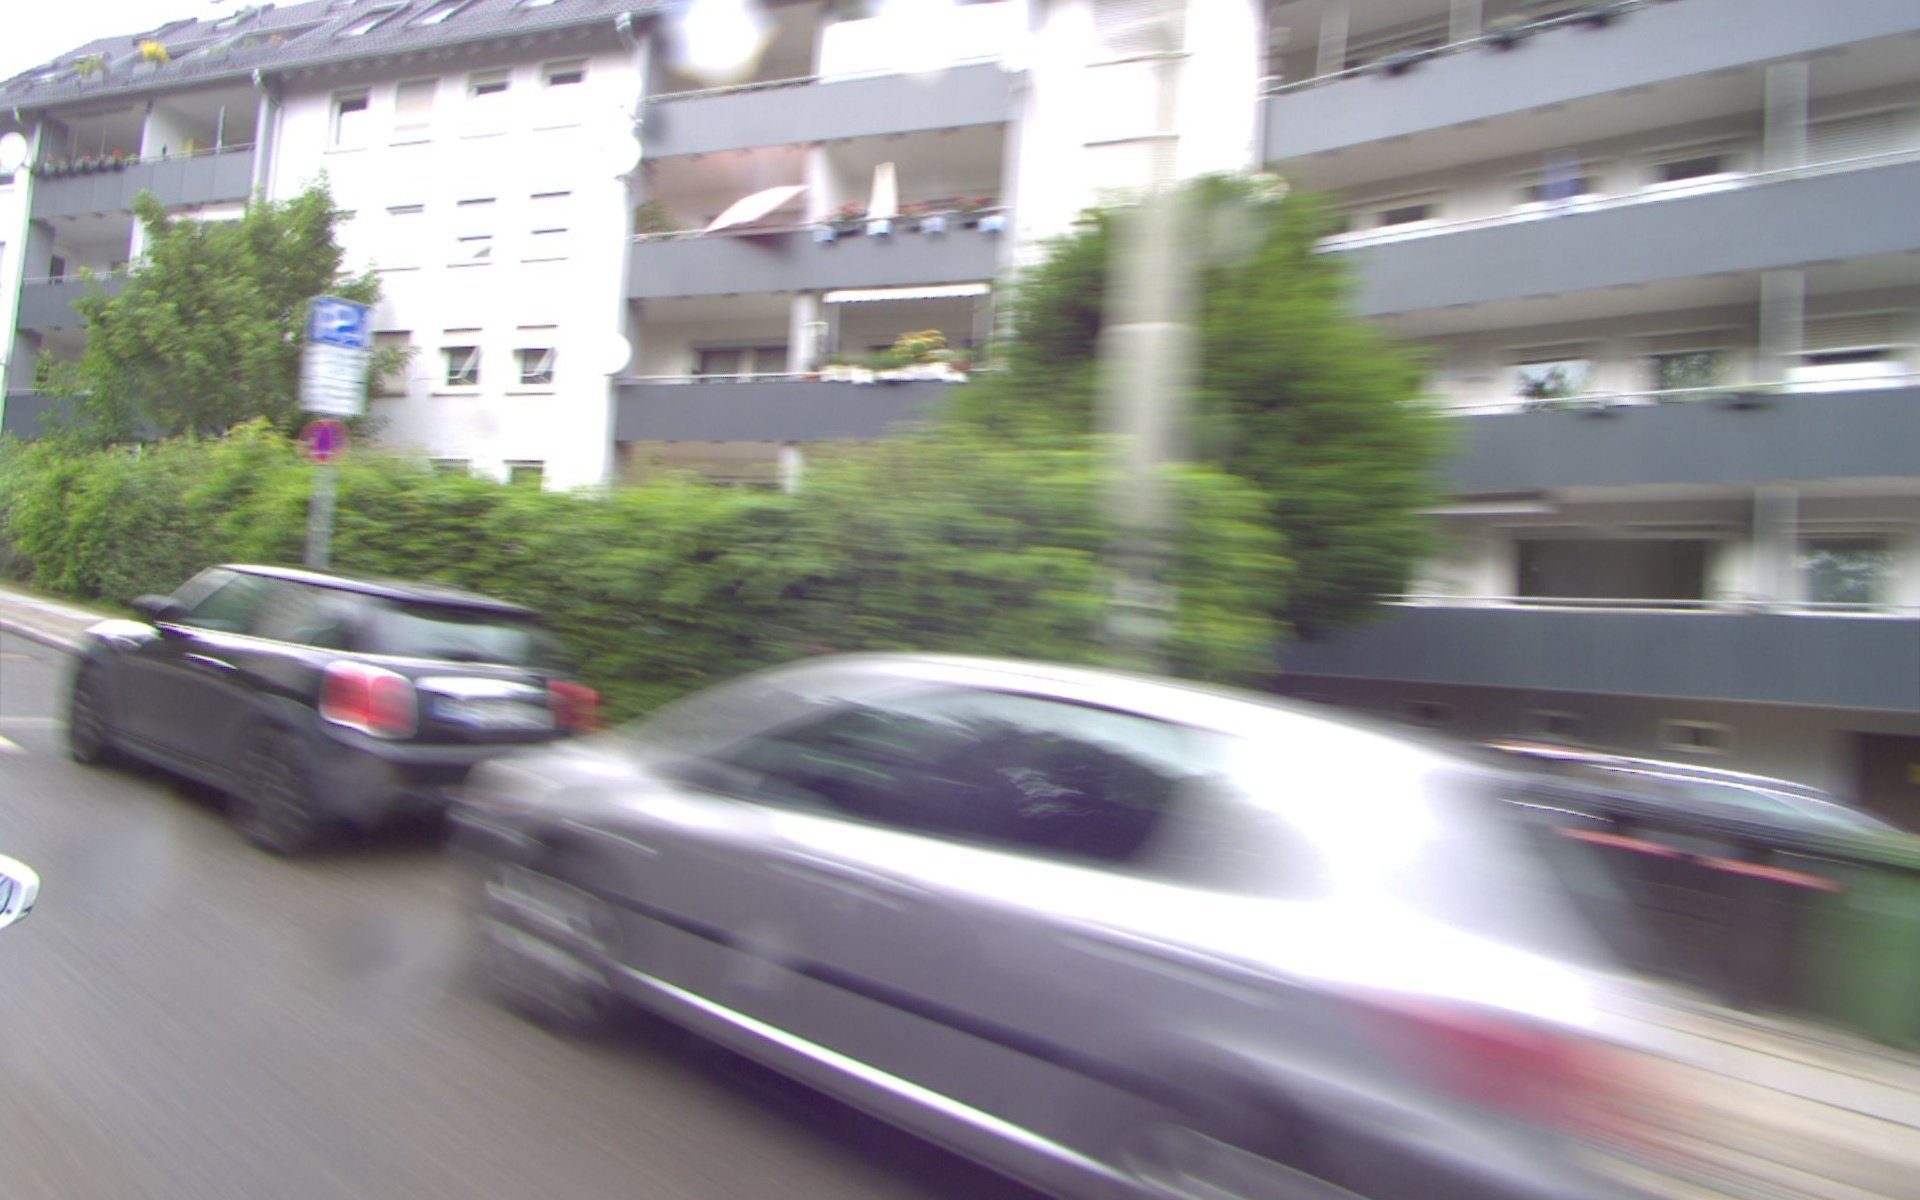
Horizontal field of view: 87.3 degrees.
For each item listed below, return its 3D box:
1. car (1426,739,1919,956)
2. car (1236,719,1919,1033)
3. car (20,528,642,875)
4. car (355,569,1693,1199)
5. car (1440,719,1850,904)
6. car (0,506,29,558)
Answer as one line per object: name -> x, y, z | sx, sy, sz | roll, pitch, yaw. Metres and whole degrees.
car -> 7.776, 2.581, 11.275 | 4.358, 1.394, 1.780 | 5, -3, 33
car -> 4.494, 1.886, 7.846 | 4.137, 1.530, 1.724 | 1, -6, 32
car -> -4.063, 0.505, 6.375 | 3.799, 1.441, 1.709 | 6, -4, 32
car -> -0.099, 0.877, 3.624 | 4.180, 1.443, 1.709 | 6, -4, 32
car -> 8.781, 2.634, 13.297 | 4.135, 1.538, 1.687 | 5, -3, 33
car -> -33.996, -2.575, 33.462 | 1.778, 1.663, 3.998 | 4, -5, 31
